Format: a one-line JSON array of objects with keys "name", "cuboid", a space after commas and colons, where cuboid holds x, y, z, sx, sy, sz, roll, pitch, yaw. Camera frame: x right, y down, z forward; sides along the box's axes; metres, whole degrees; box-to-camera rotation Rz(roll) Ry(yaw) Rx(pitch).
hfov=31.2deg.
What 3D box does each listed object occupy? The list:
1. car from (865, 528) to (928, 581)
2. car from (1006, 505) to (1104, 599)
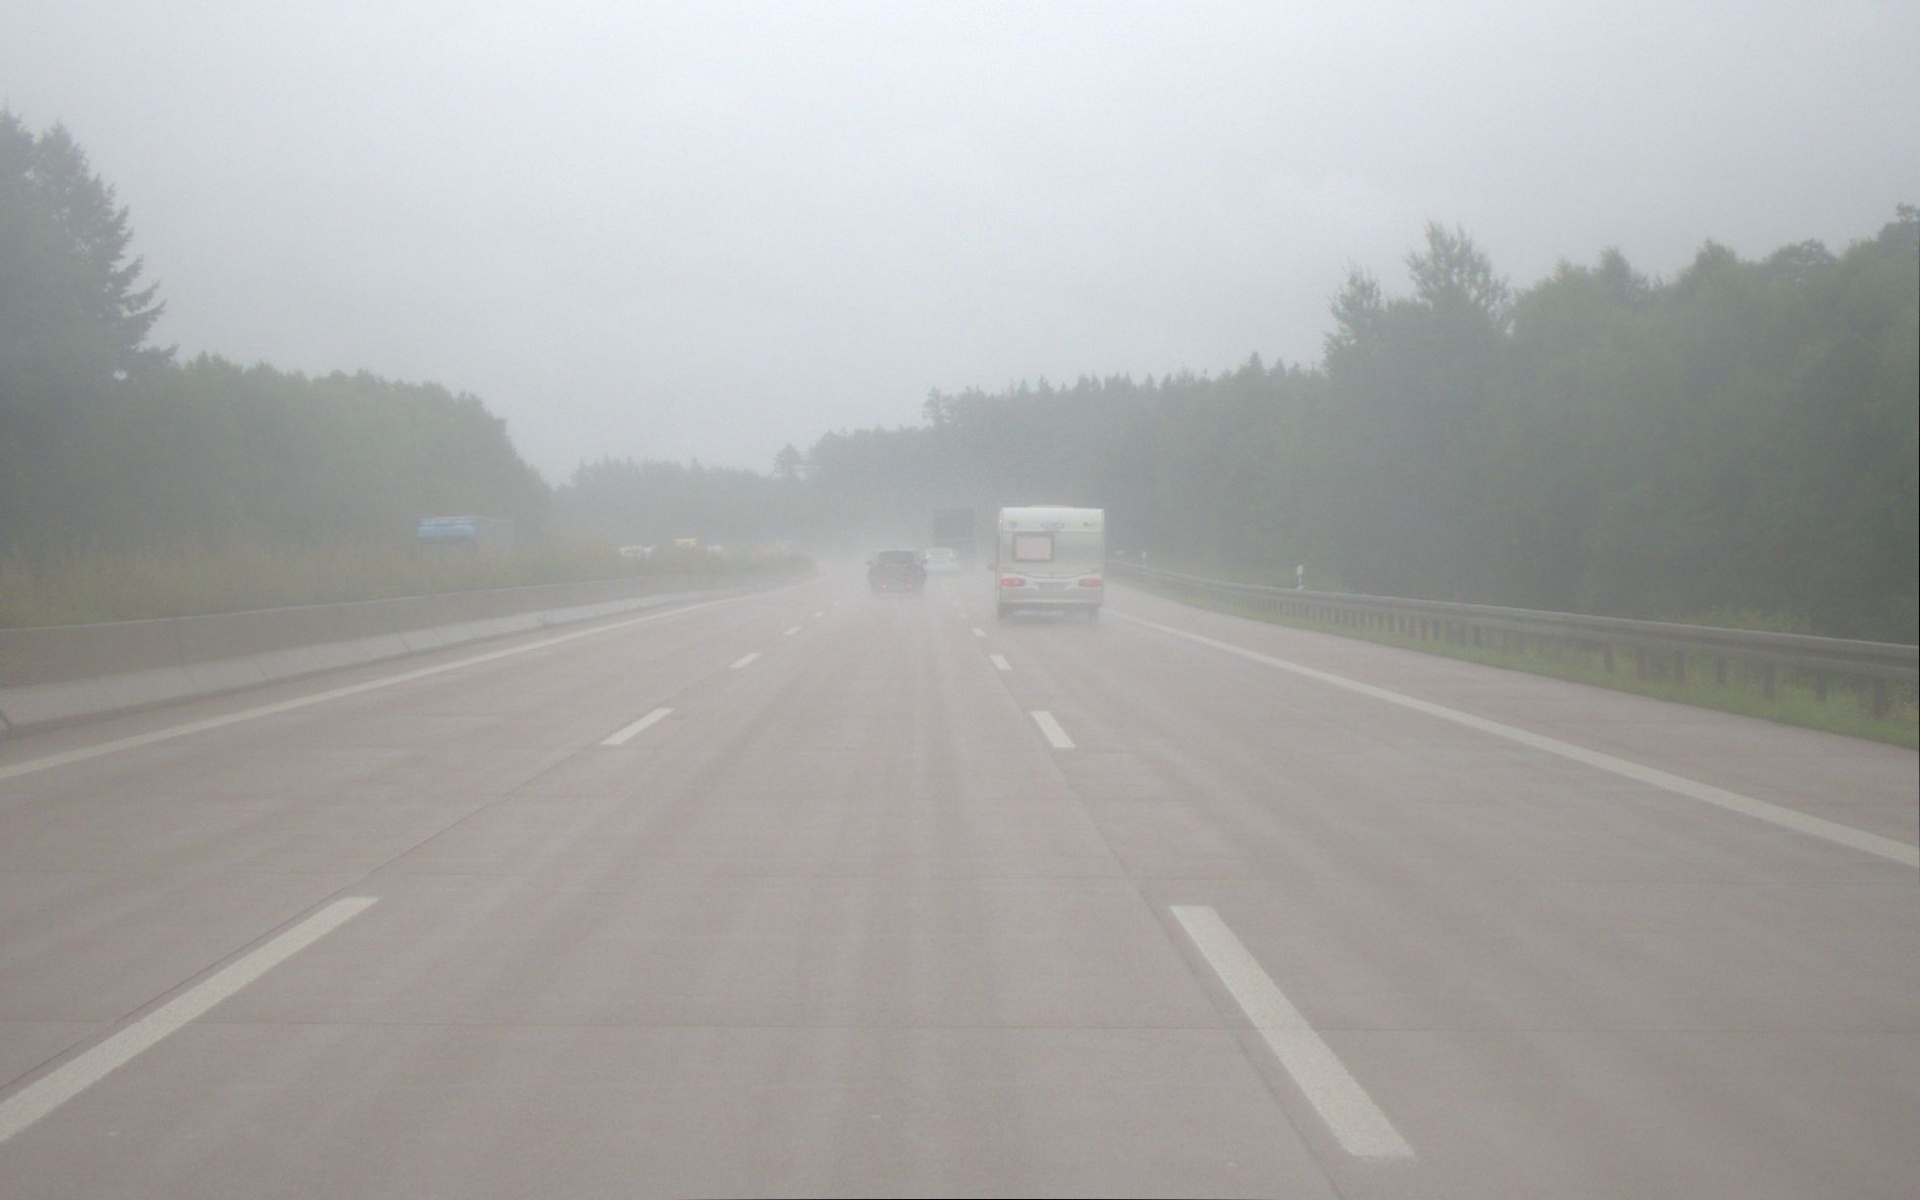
[{"name": "car", "cuboid": [-2.088, -1.514, 114.403, 1.937, 1.723, 4.130, 1, 1, 1]}, {"name": "car", "cuboid": [2.041, -1.054, 75.112, 2.058, 1.993, 4.098, 0, 1, 1]}]
